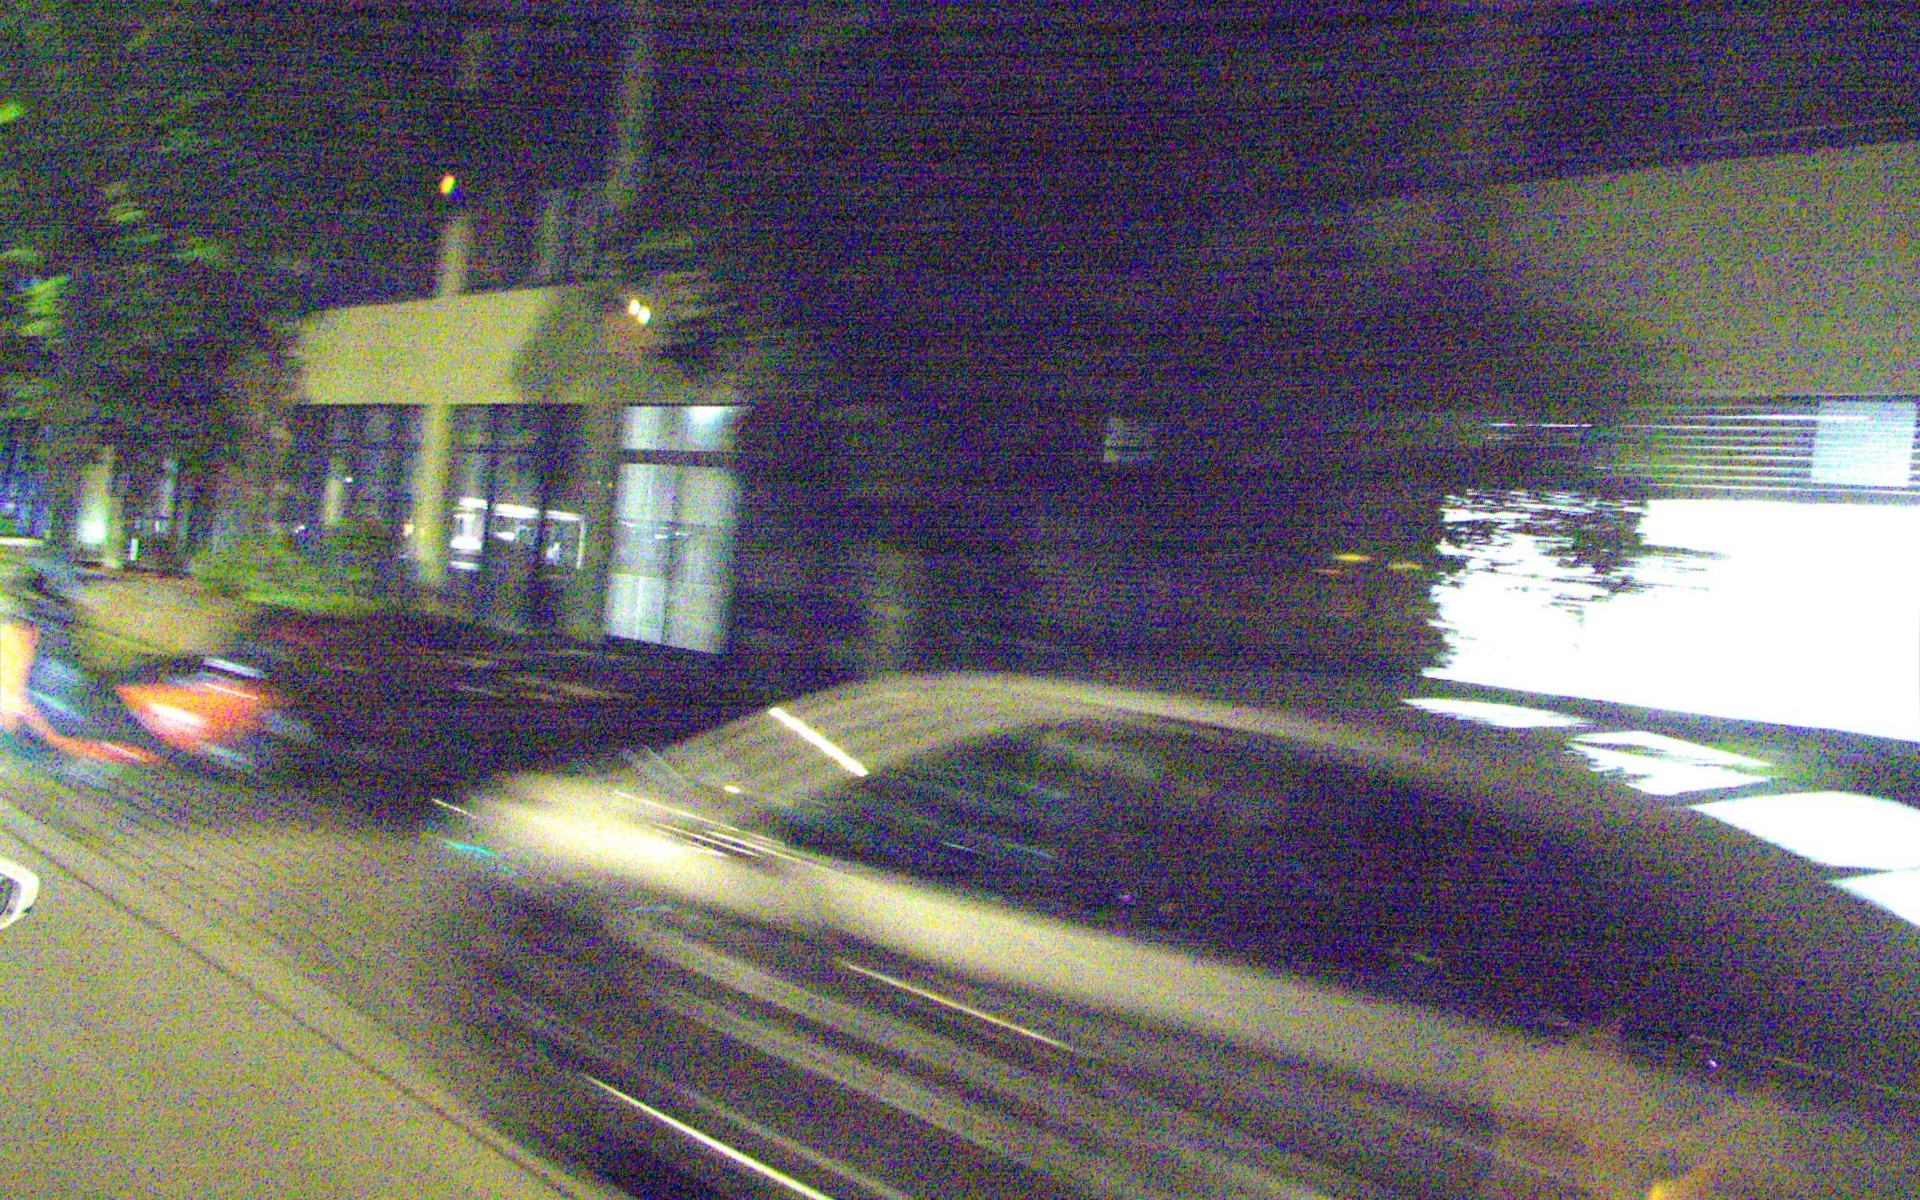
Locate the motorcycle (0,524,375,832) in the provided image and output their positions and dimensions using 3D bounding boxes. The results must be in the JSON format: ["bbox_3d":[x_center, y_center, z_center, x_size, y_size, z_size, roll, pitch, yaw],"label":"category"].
[{"bbox_3d":[-4.533,0.339,5.414,2.192,1.300,0.929,7,2,7],"label":"motorcycle"}]

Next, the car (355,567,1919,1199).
[{"bbox_3d":[0.329,0.853,2.635,4.081,1.448,1.668,7,2,34],"label":"car"}]
